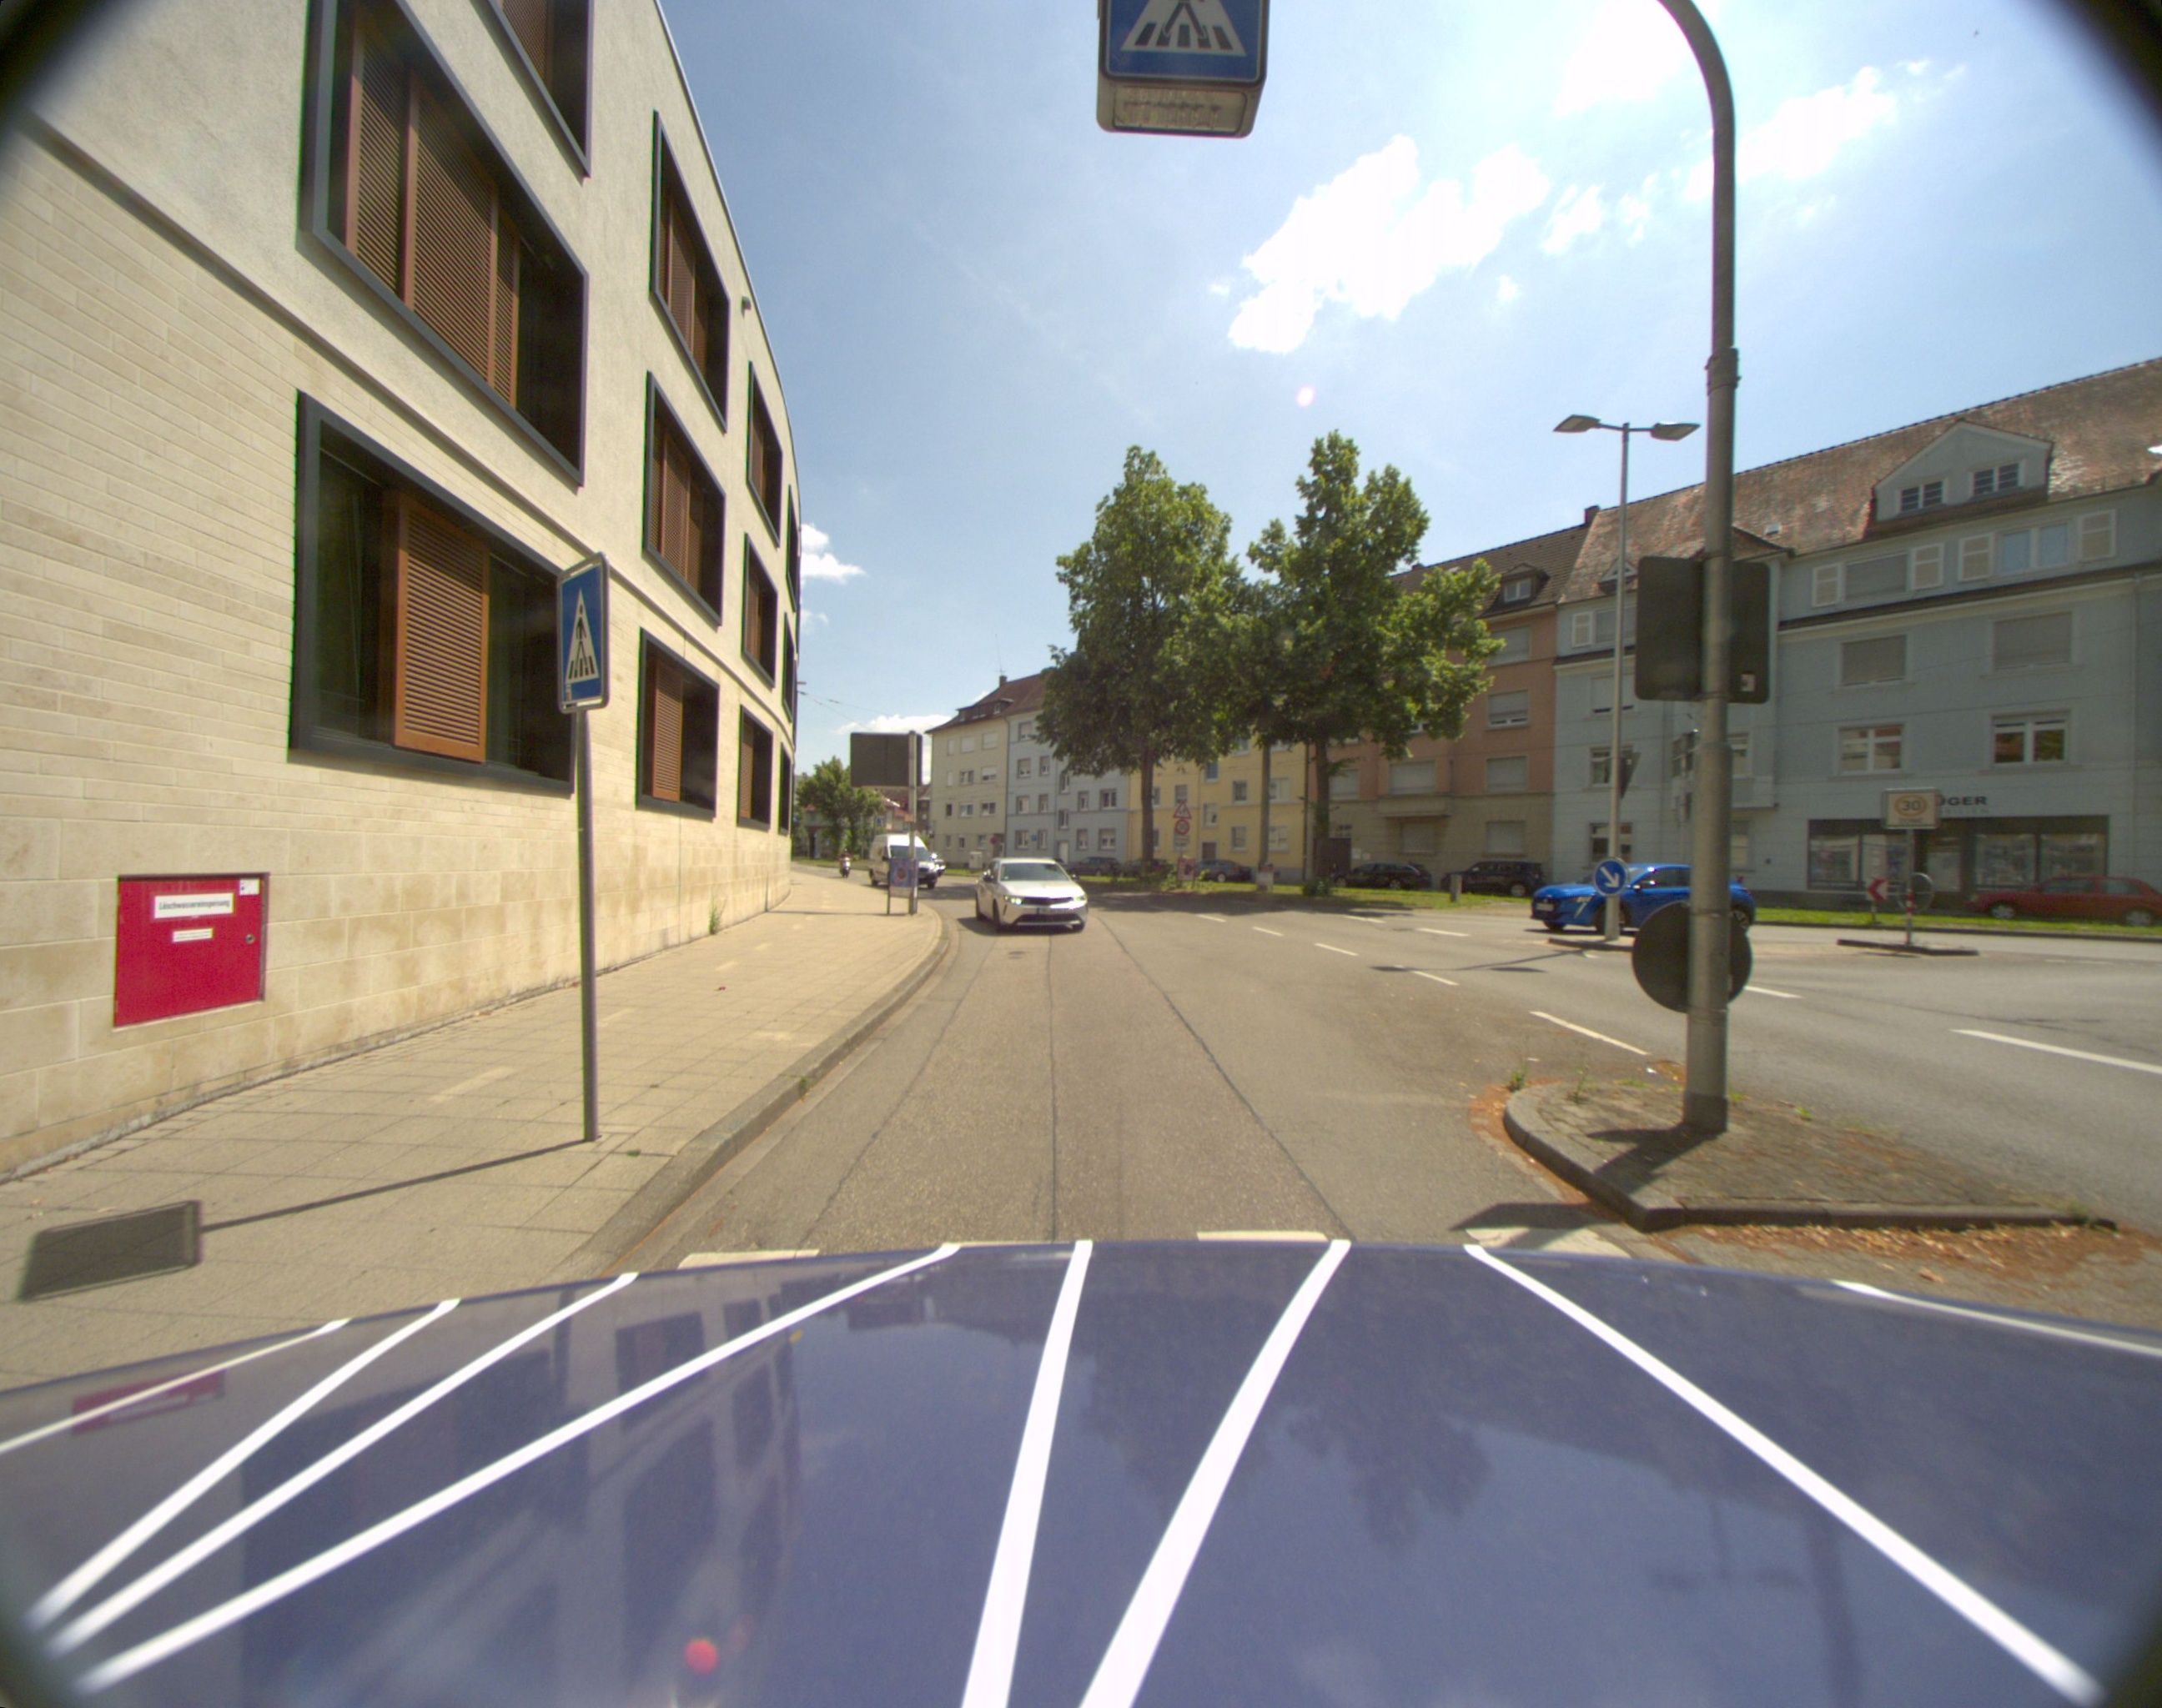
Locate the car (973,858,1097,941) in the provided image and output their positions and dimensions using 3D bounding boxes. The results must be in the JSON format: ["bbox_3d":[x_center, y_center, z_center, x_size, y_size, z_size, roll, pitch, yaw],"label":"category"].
[{"bbox_3d":[-1.116,0.847,16.130,1.803,1.457,4.165,-1,0,-15],"label":"car"}]

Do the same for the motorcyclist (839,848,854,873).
[{"bbox_3d":[-12.818,0.333,41.533,0.736,1.329,1.169,0,1,-20],"label":"motorcyclist"}]

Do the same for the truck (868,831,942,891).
[{"bbox_3d":[-7.485,0.216,31.824,2.024,2.236,5.395,2,1,-24],"label":"truck"}]

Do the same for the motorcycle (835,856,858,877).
[{"bbox_3d":[-12.813,0.678,41.445,1.059,1.073,2.612,0,0,-20],"label":"motorcycle"}]

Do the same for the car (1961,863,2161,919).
[{"bbox_3d":[28.615,1.047,22.273,1.580,1.442,3.615,4,-2,-42],"label":"car"}]

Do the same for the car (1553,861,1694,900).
[{"bbox_3d":[21.494,1.027,30.200,1.817,1.348,4.237,4,-2,-42],"label":"car"}]

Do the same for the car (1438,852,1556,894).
[{"bbox_3d":[18.338,0.819,33.631,1.847,1.675,4.130,4,-2,-42],"label":"car"}]

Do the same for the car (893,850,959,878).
[{"bbox_3d":[-9.159,0.551,44.577,1.747,1.479,4.395,1,0,-43],"label":"car"}]

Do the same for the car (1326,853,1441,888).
[{"bbox_3d":[14.797,0.788,37.379,1.939,1.481,4.848,4,-2,-42],"label":"car"}]

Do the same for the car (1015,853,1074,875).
[{"bbox_3d":[-2.746,0.710,56.502,1.939,1.442,4.363,5,-3,-44],"label":"car"}]

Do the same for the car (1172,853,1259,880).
[{"bbox_3d":[7.885,0.736,44.826,1.939,1.389,4.848,4,-2,-41],"label":"car"}]

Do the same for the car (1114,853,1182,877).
[{"bbox_3d":[4.284,0.705,49.019,1.841,1.391,4.130,3,-1,-42],"label":"car"}]

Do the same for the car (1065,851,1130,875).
[{"bbox_3d":[1.129,0.612,52.803,1.939,1.496,4.313,3,-2,-44],"label":"car"}]

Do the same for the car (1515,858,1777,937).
[{"bbox_3d":[11.266,0.836,15.337,3.998,1.483,1.815,0,-1,-3],"label":"car"}]
